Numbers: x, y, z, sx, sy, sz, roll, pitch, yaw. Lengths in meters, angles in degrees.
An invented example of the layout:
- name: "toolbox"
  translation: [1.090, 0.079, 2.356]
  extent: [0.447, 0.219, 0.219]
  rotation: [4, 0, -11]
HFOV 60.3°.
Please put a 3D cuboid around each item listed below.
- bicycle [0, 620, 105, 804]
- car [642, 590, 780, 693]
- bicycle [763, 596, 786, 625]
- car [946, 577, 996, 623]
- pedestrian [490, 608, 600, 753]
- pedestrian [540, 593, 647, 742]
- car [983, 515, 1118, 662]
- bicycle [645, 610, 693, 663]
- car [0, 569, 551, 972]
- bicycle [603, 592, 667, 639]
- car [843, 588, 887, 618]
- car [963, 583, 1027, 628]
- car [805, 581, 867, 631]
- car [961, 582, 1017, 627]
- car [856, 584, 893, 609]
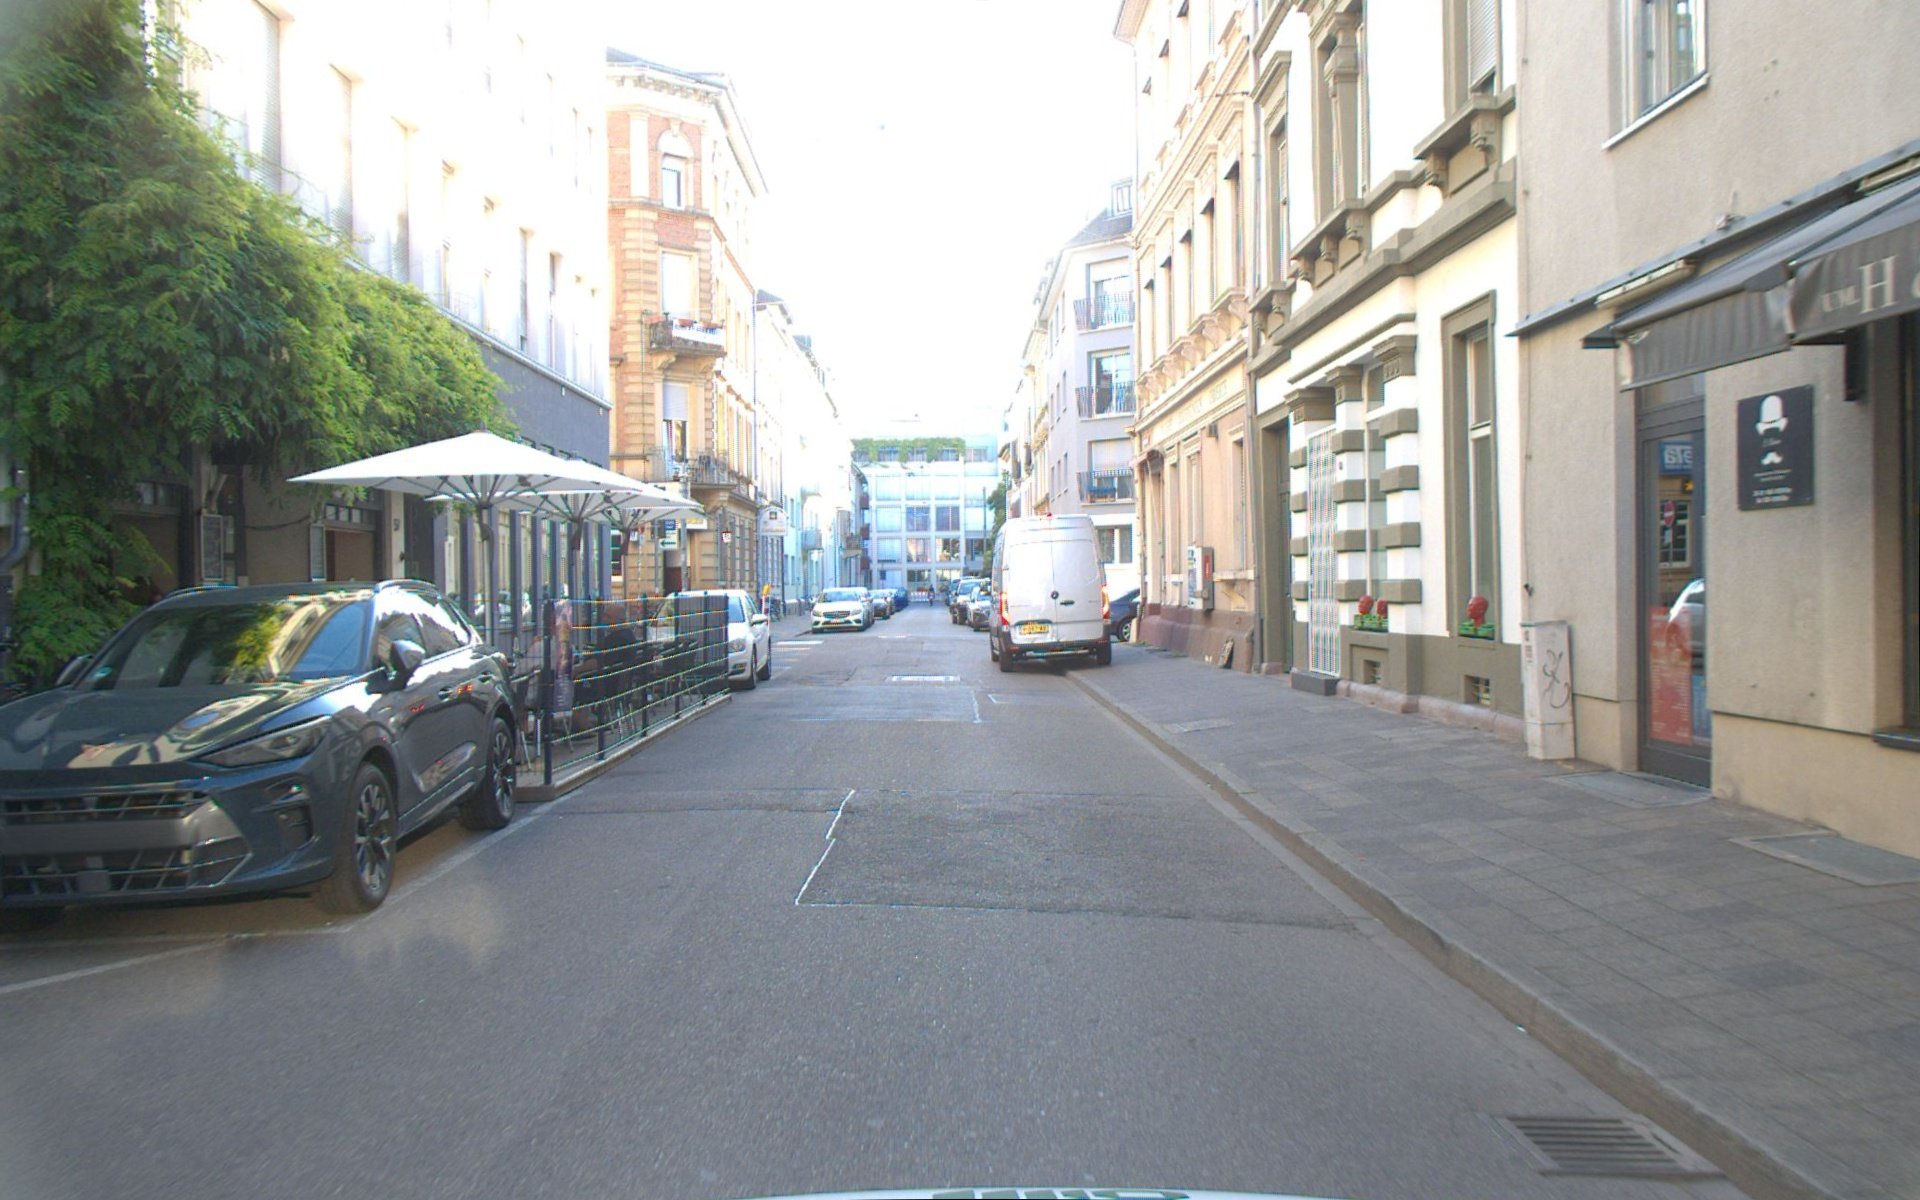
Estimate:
- name: "bicycle"
  translation: [-6.644, 0.748, 11.334]
  extent: [0.630, 1.180, 1.794]
  rotation: [0, 1, 0]
- name: "car"
  translation: [-3.756, 0.587, 25.462]
  extent: [1.624, 1.438, 3.881]
  rotation: [-1, 0, -2]
- name: "bicycle"
  translation: [-7.647, 0.424, 68.270]
  extent: [0.722, 1.181, 2.461]
  rotation: [0, 0, -1]
- name: "car"
  translation: [0.421, -0.022, 67.450]
  extent: [1.855, 1.815, 3.999]
  rotation: [-1, 0, -2]
- name: "pedestrian"
  translation: [-3.559, 0.673, 14.212]
  extent: [0.542, 1.186, 0.740]
  rotation: [-1, 0, 31]
- name: "pedestrian"
  translation: [-3.368, 0.602, 15.275]
  extent: [0.765, 1.309, 0.915]
  rotation: [-1, 0, -1]
- name: "car"
  translation: [1.596, -0.225, 31.433]
  extent: [2.230, 2.482, 6.203]
  rotation: [-1, 1, 0]
- name: "bicycle"
  translation: [-5.341, 0.658, 30.438]
  extent: [0.584, 0.921, 1.644]
  rotation: [-1, 1, 0]
- name: "car"
  translation: [-3.731, 0.696, 9.260]
  extent: [1.844, 1.595, 4.768]
  rotation: [-3, 1, -3]
- name: "bicycle"
  translation: [-9.478, 0.443, 48.299]
  extent: [1.723, 1.297, 0.660]
  rotation: [-1, 4, -5]
- name: "car"
  translation: [-4.542, 0.124, 79.855]
  extent: [1.953, 1.378, 4.428]
  rotation: [-1, 1, -1]
- name: "car"
  translation: [1.145, 0.154, 55.975]
  extent: [1.899, 1.396, 3.787]
  rotation: [-3, 1, -2]
- name: "car"
  translation: [-4.227, 0.178, 56.984]
  extent: [1.954, 1.591, 4.504]
  rotation: [-1, 1, -3]
- name: "car"
  translation: [1.055, 0.144, 62.044]
  extent: [1.924, 1.584, 3.888]
  rotation: [-1, 0, -1]
- name: "car"
  translation: [-5.044, -0.211, 97.618]
  extent: [2.130, 1.443, 3.998]
  rotation: [-1, 1, -3]
